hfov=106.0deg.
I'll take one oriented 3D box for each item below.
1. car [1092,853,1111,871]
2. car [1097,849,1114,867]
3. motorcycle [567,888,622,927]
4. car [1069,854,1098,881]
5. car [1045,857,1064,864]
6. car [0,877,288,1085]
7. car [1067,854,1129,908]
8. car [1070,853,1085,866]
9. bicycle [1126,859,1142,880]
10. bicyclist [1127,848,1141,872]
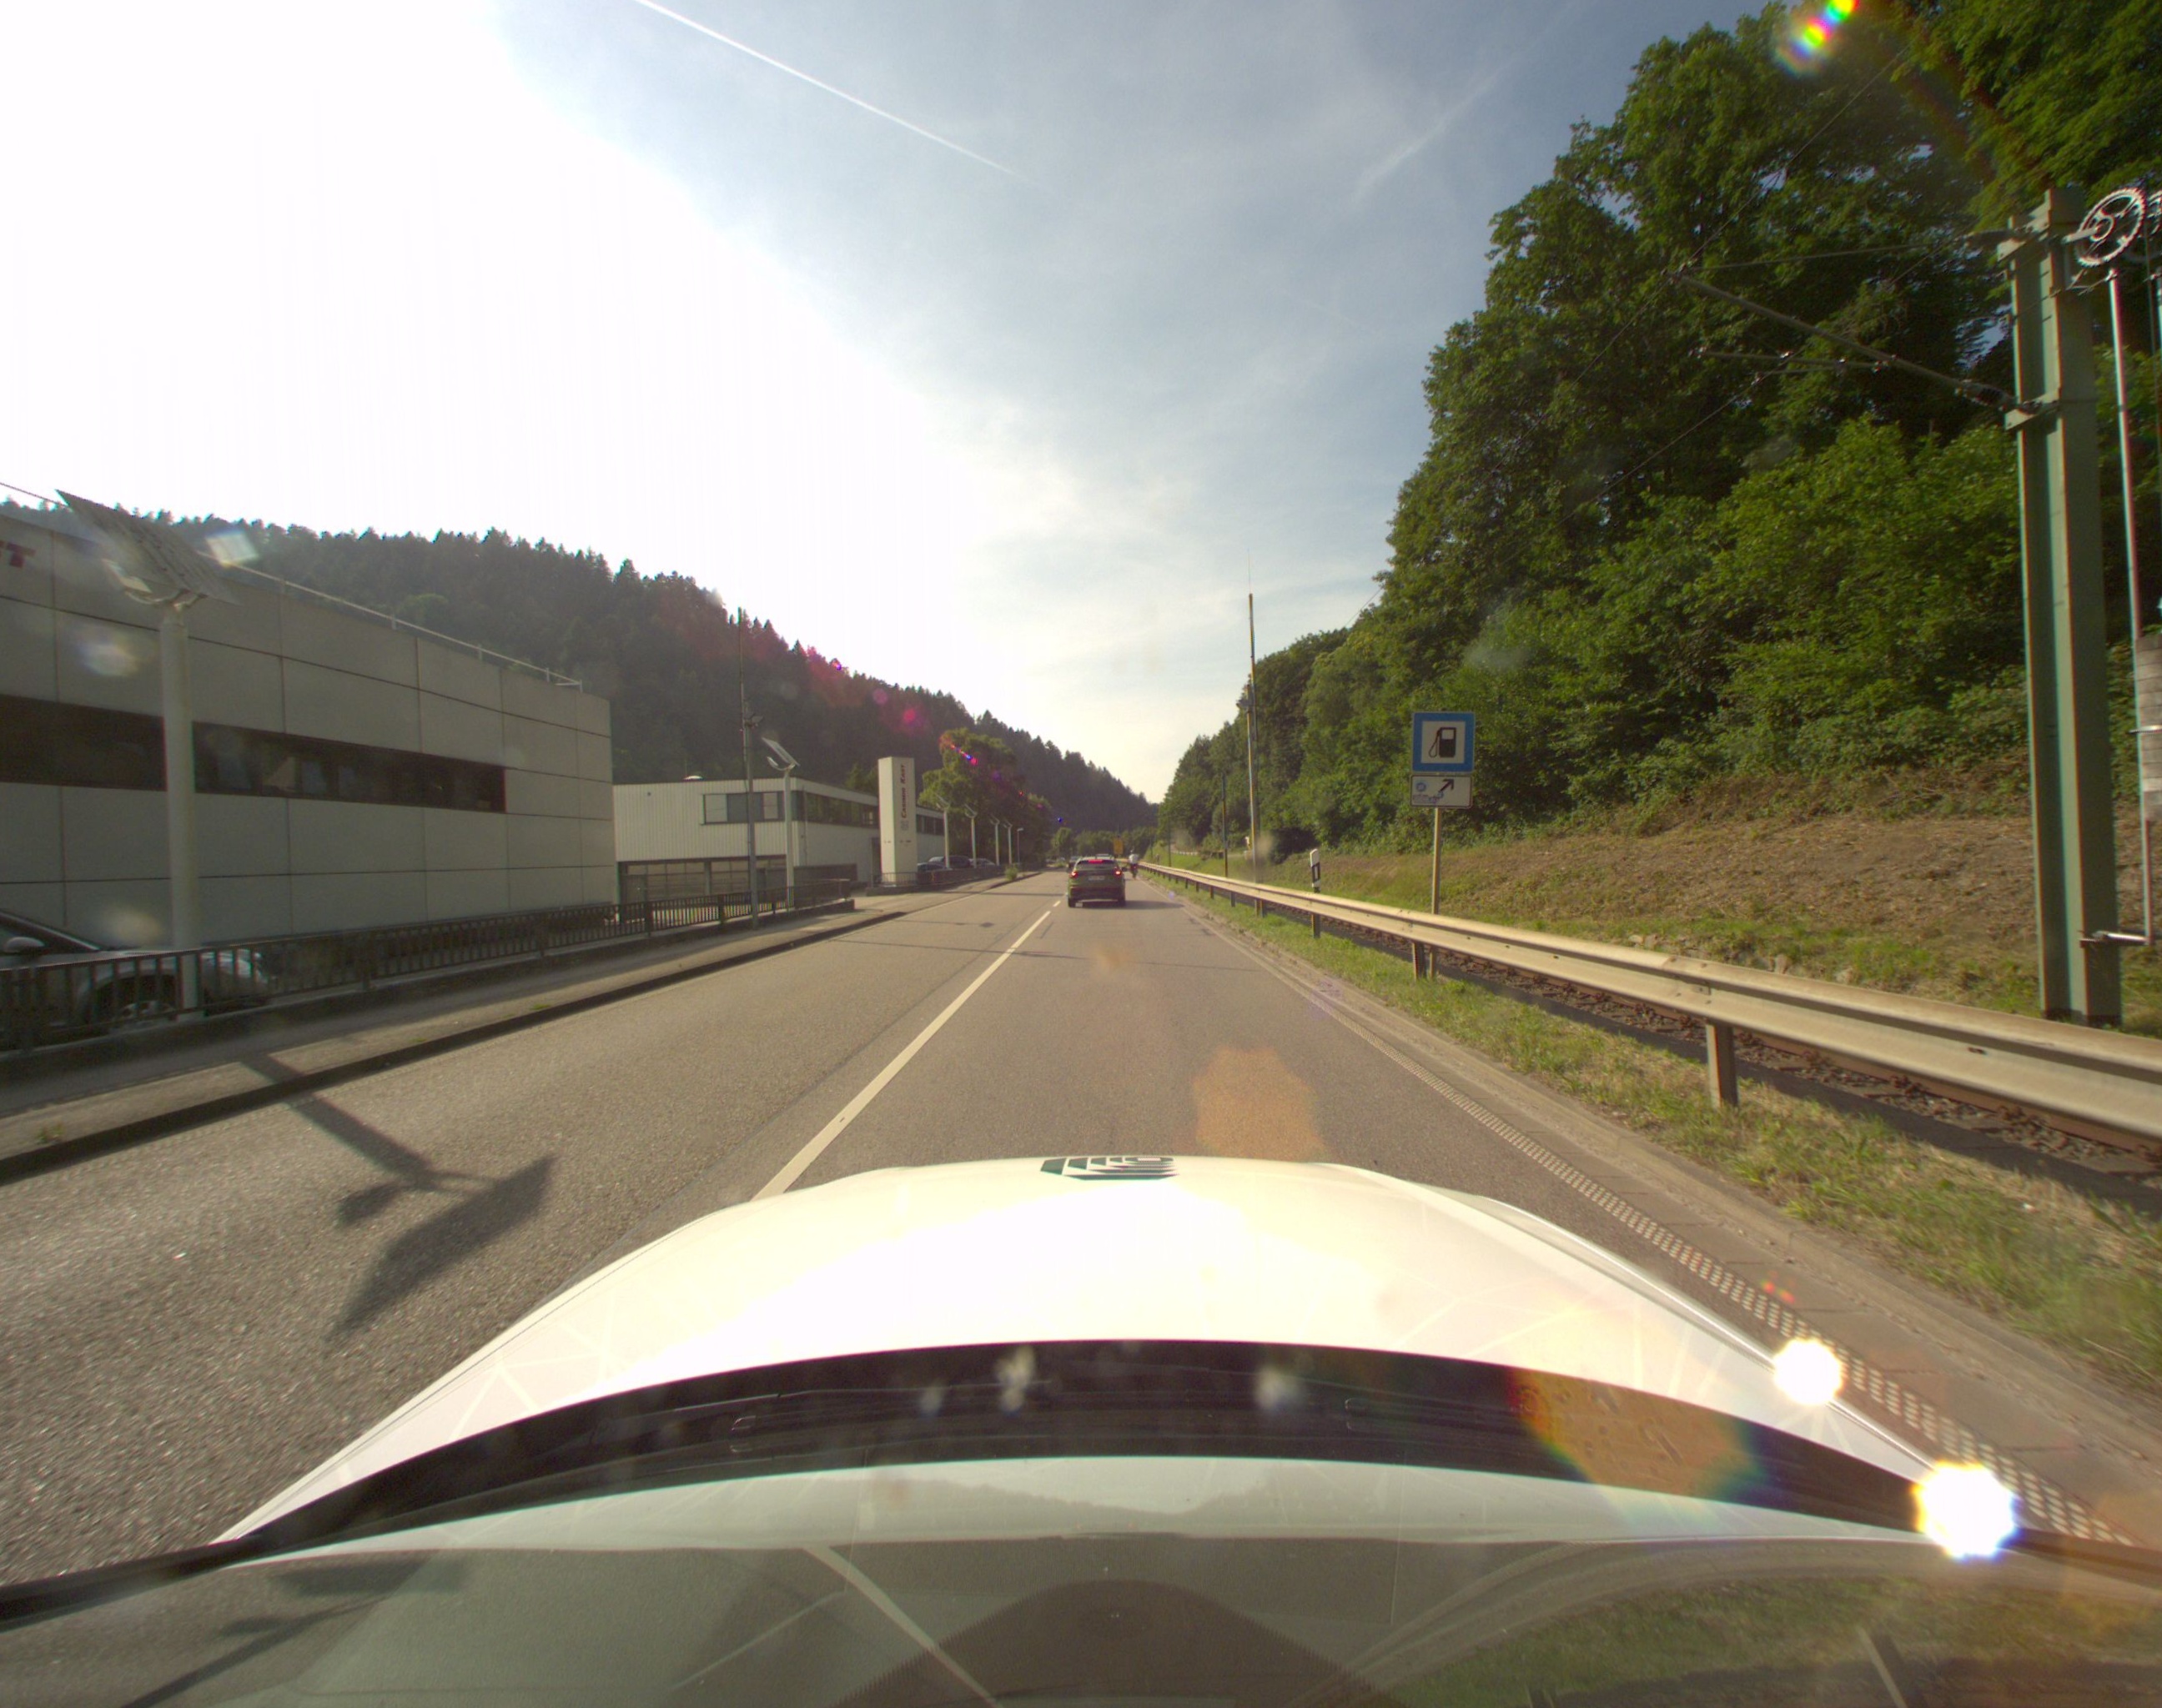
[{"bbox_3d":[1.899,0.762,77.802,1.733,1.602,4.000,-1,0,1],"label":"car"},{"bbox_3d":[3.020,0.495,100.241,1.986,2.013,4.001,-2,0,1],"label":"car"},{"bbox_3d":[-16.308,1.776,27.347,0.510,1.152,2.089,-2,-1,2],"label":"motorcycle"},{"bbox_3d":[0.157,0.809,51.047,1.733,1.602,4.000,-1,0,1],"label":"car"},{"bbox_3d":[-6.164,1.514,189.867,4.242,1.433,1.557,-2,0,2],"label":"car"},{"bbox_3d":[-10.107,1.147,7.348,1.759,1.708,4.135,-2,0,43],"label":"car"},{"bbox_3d":[0.518,0.777,25.464,1.733,1.508,4.000,-1,0,1],"label":"car"},{"bbox_3d":[-0.437,0.636,99.677,1.671,1.485,4.247,0,0,1],"label":"car"},{"bbox_3d":[3.205,0.929,49.209,0.809,1.250,2.122,-2,0,0],"label":"bicycle"},{"bbox_3d":[3.192,0.341,49.227,0.779,1.412,0.675,-2,0,-1],"label":"bicyclist"}]
